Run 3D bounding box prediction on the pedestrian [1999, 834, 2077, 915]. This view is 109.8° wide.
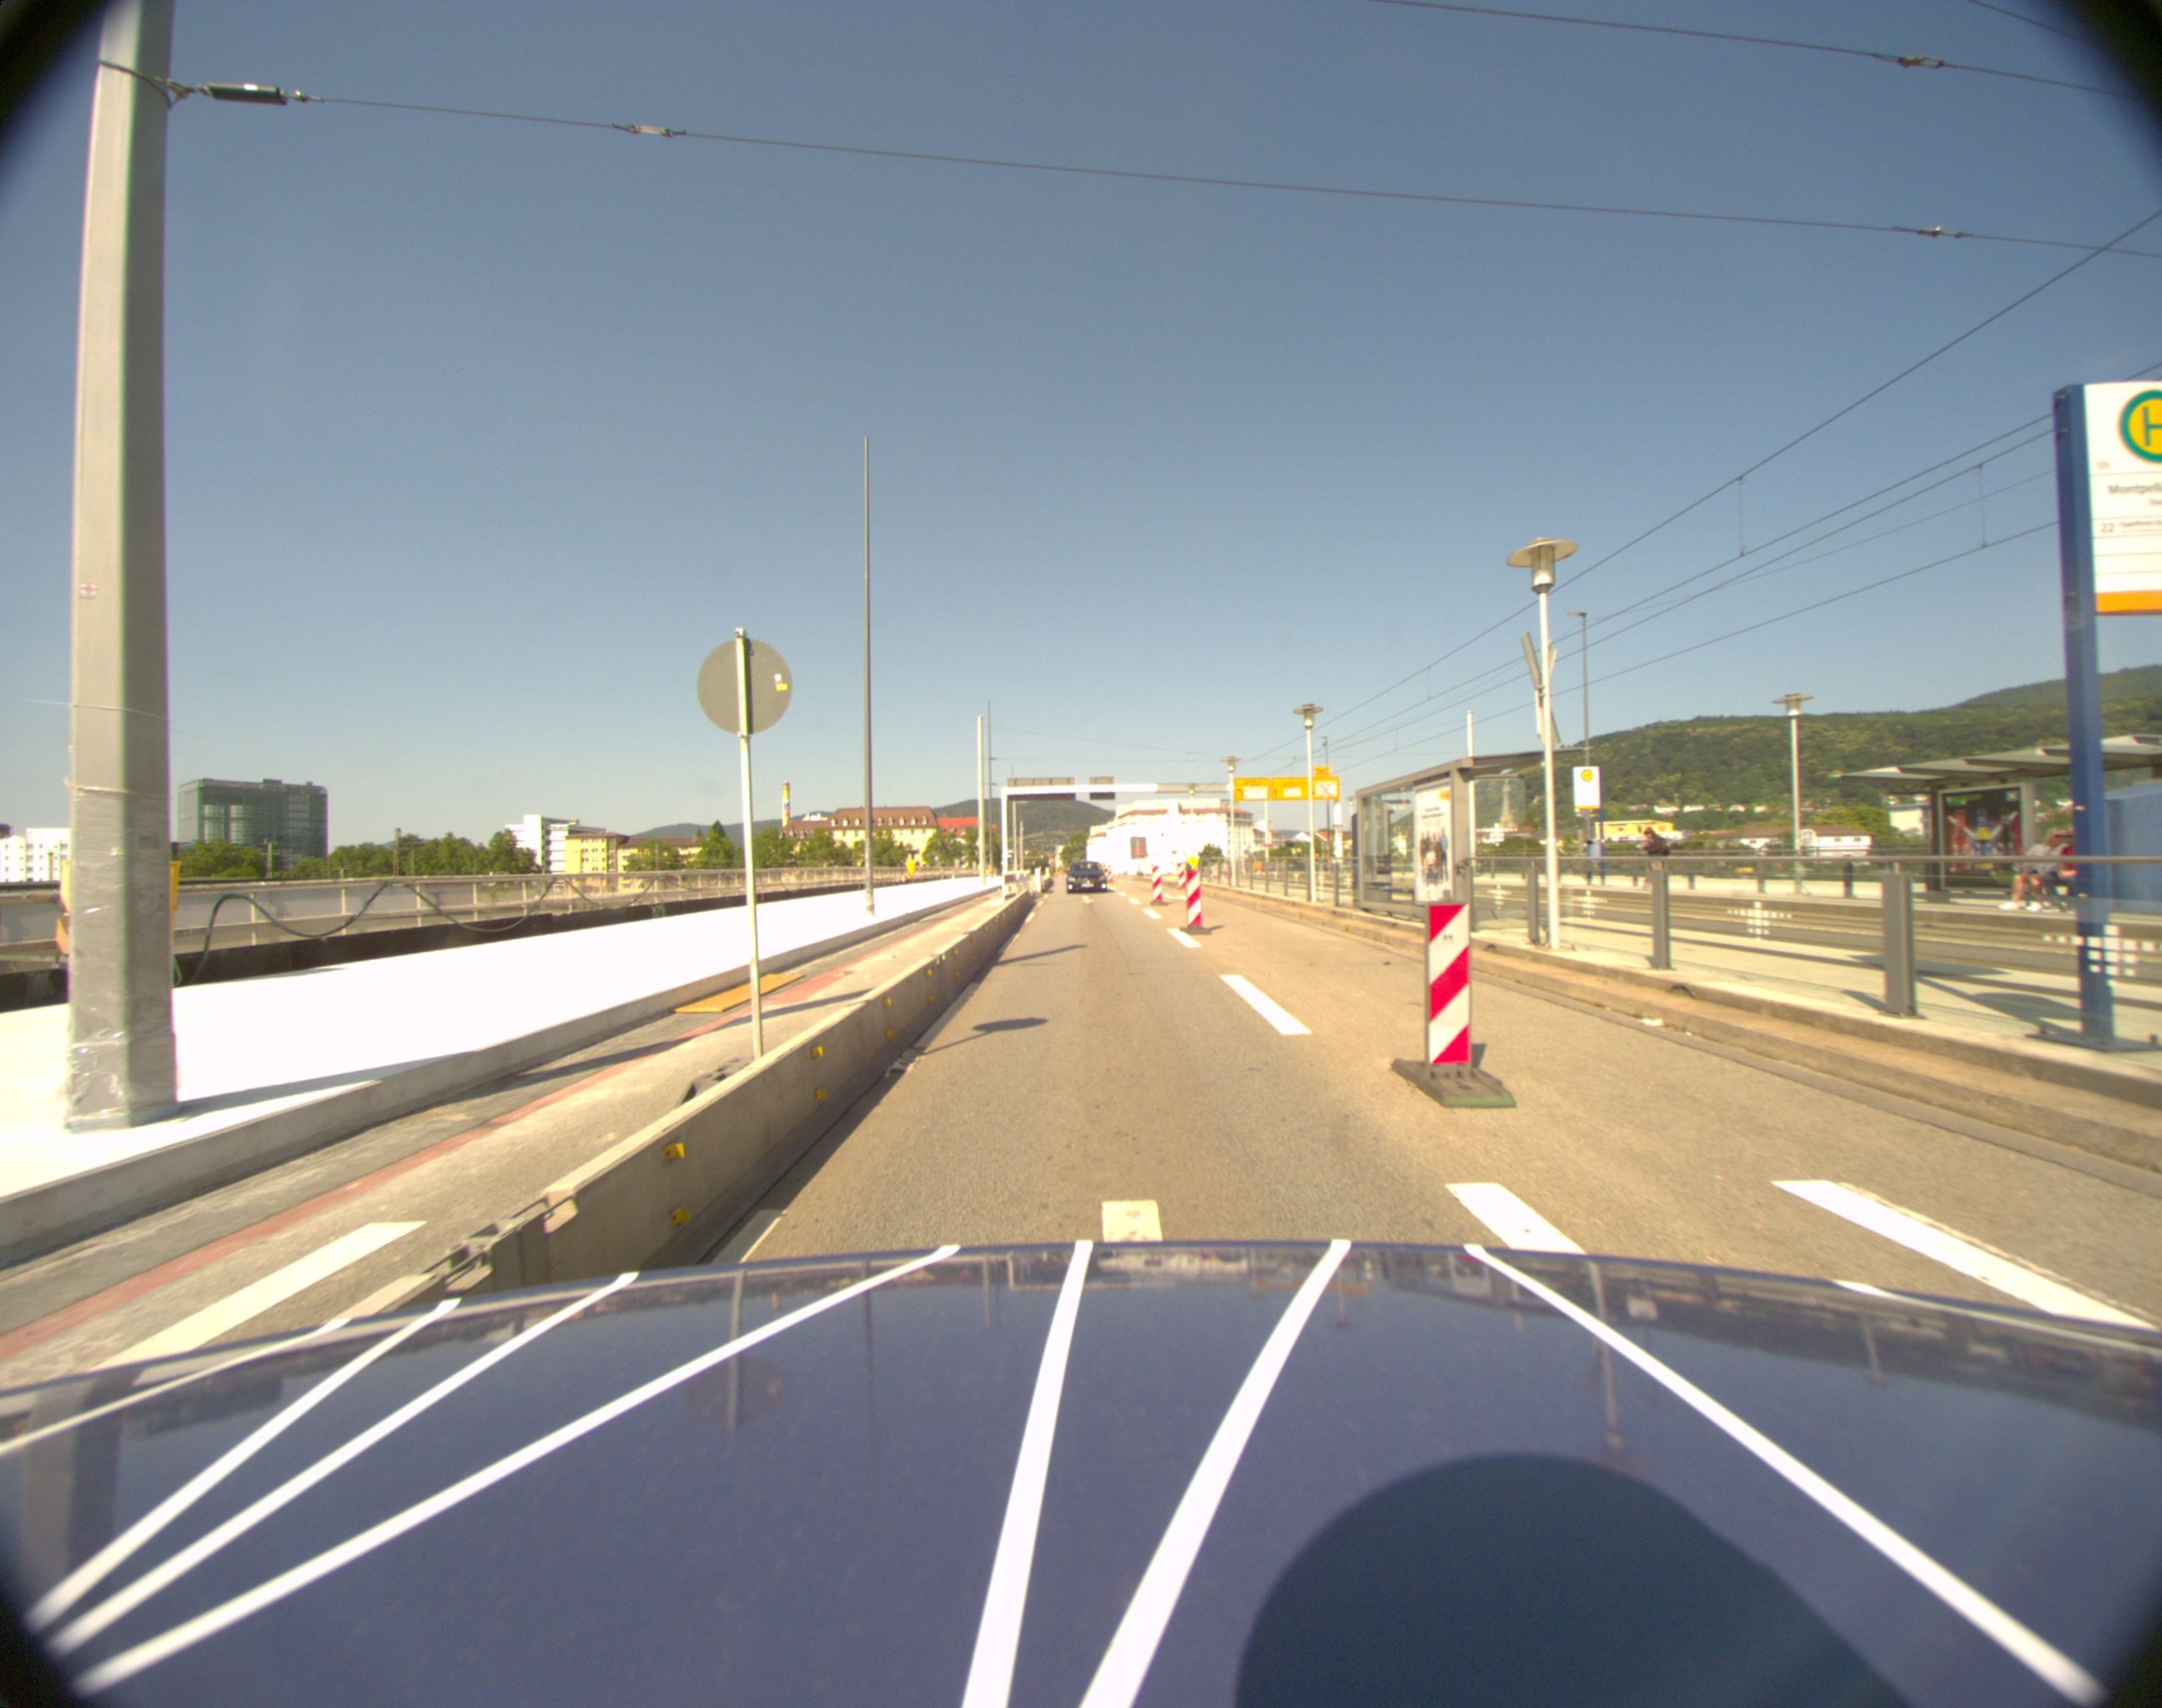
[{"bbox_3d":[15.375,0.332,12.221,0.649,1.266,0.453,-1,0,3],"label":"pedestrian"}]

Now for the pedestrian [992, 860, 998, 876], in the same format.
[{"bbox_3d":[-10.522,1.714,93.182,0.733,1.953,1.016,0,-1,-3],"label":"pedestrian"}]

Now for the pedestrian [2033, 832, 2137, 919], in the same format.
[{"bbox_3d":[15.353,0.323,11.637,0.649,1.266,0.697,-1,0,3],"label":"pedestrian"}]

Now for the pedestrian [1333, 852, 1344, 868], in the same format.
[{"bbox_3d":[25.427,0.602,75.045,0.721,1.535,0.889,-4,-1,-4],"label":"pedestrian"}]

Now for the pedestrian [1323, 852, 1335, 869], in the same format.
[{"bbox_3d":[24.539,0.629,75.061,0.746,1.632,0.895,-4,-1,-4],"label":"pedestrian"}]

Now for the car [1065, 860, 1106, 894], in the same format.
[{"bbox_3d":[0.190,1.010,34.599,1.698,1.388,4.363,-3,-1,0],"label":"car"}]

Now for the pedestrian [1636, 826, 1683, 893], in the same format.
[{"bbox_3d":[14.609,0.133,19.212,0.661,1.644,0.740,-1,0,11],"label":"pedestrian"}]
